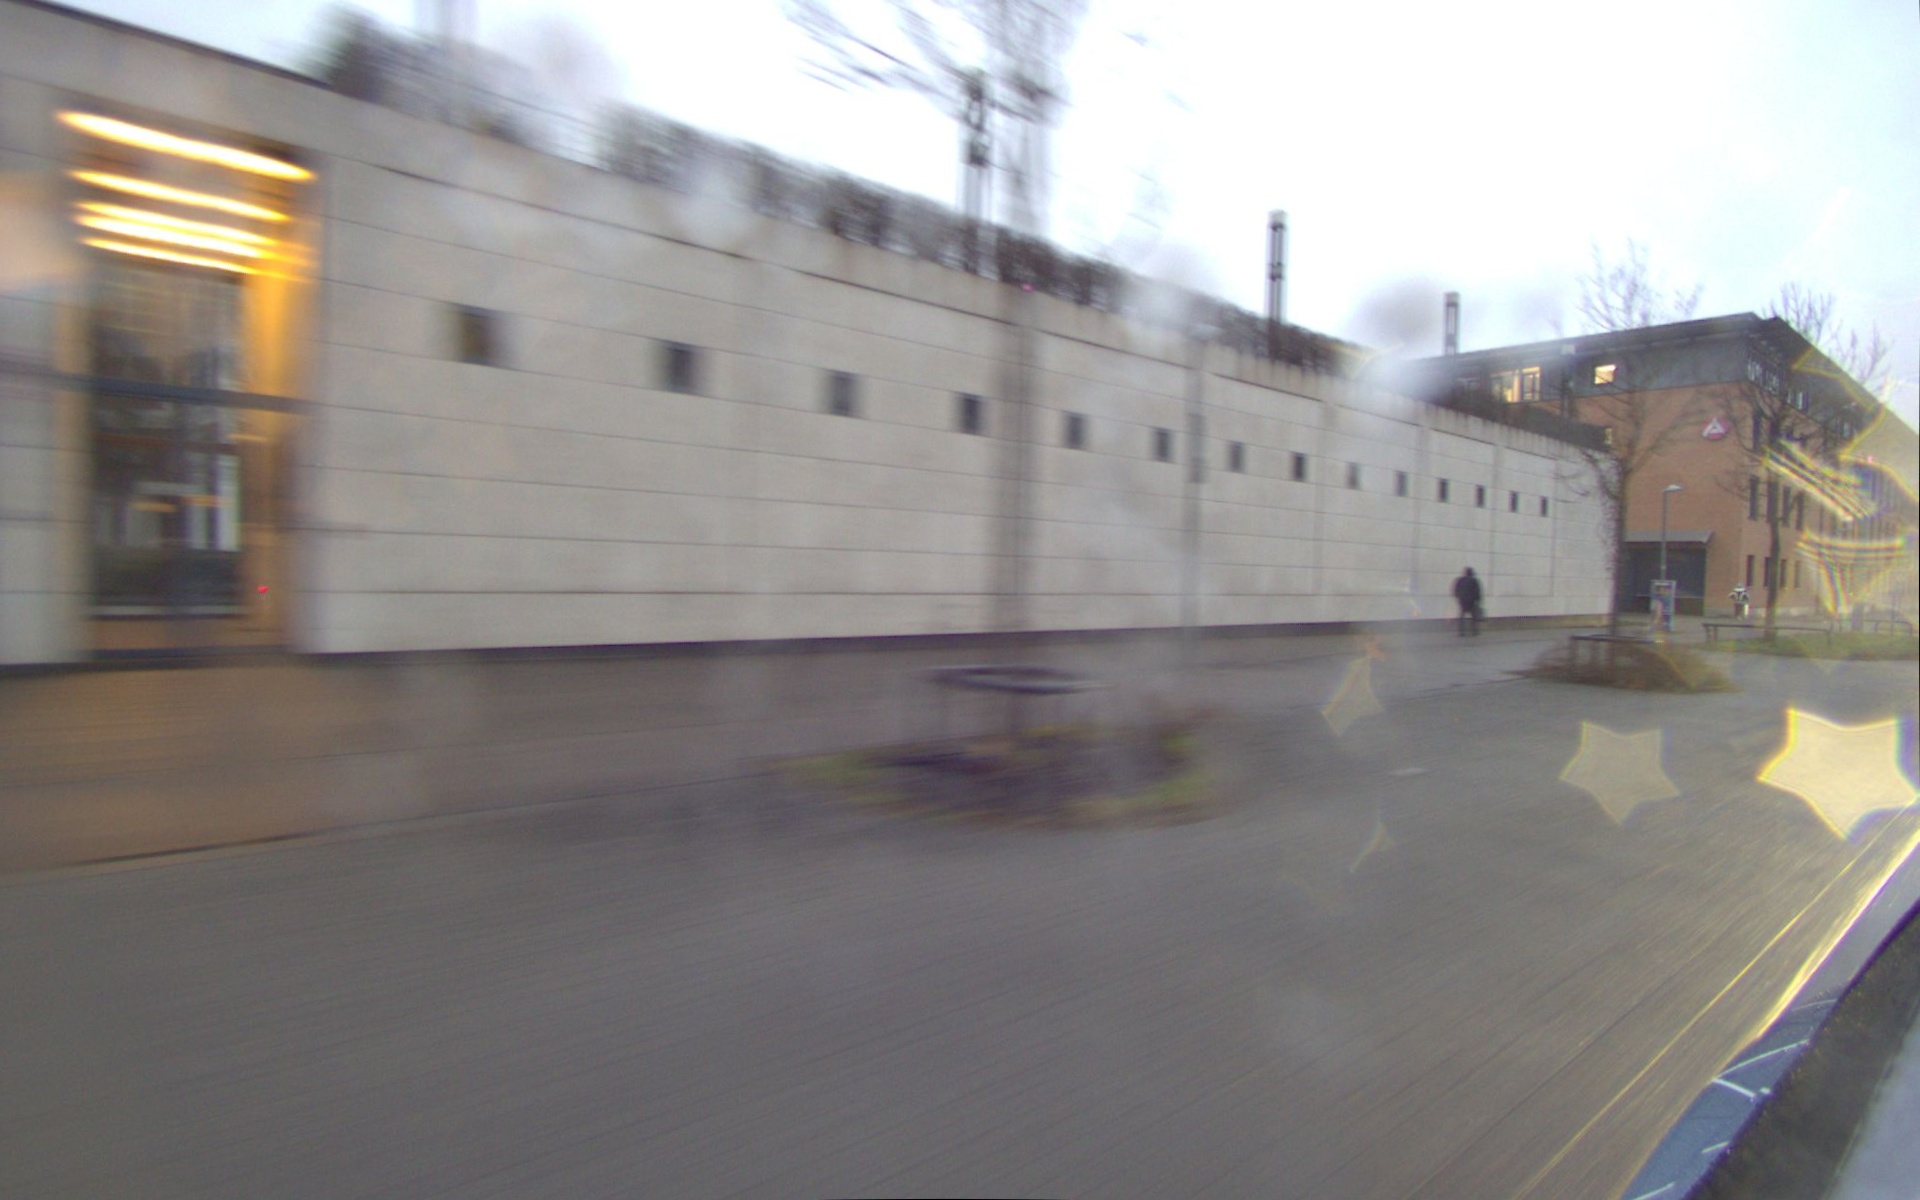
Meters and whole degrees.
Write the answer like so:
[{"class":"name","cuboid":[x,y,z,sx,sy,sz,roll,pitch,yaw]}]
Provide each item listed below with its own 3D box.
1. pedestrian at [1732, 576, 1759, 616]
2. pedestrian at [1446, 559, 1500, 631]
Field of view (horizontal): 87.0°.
[{"class":"pedestrian","cuboid":[33.681,-0.181,43.383,0.756,1.668,0.674,0,4,-41]},{"class":"pedestrian","cuboid":[12.291,-0.129,24.241,0.868,1.650,0.814,0,4,-41]}]
